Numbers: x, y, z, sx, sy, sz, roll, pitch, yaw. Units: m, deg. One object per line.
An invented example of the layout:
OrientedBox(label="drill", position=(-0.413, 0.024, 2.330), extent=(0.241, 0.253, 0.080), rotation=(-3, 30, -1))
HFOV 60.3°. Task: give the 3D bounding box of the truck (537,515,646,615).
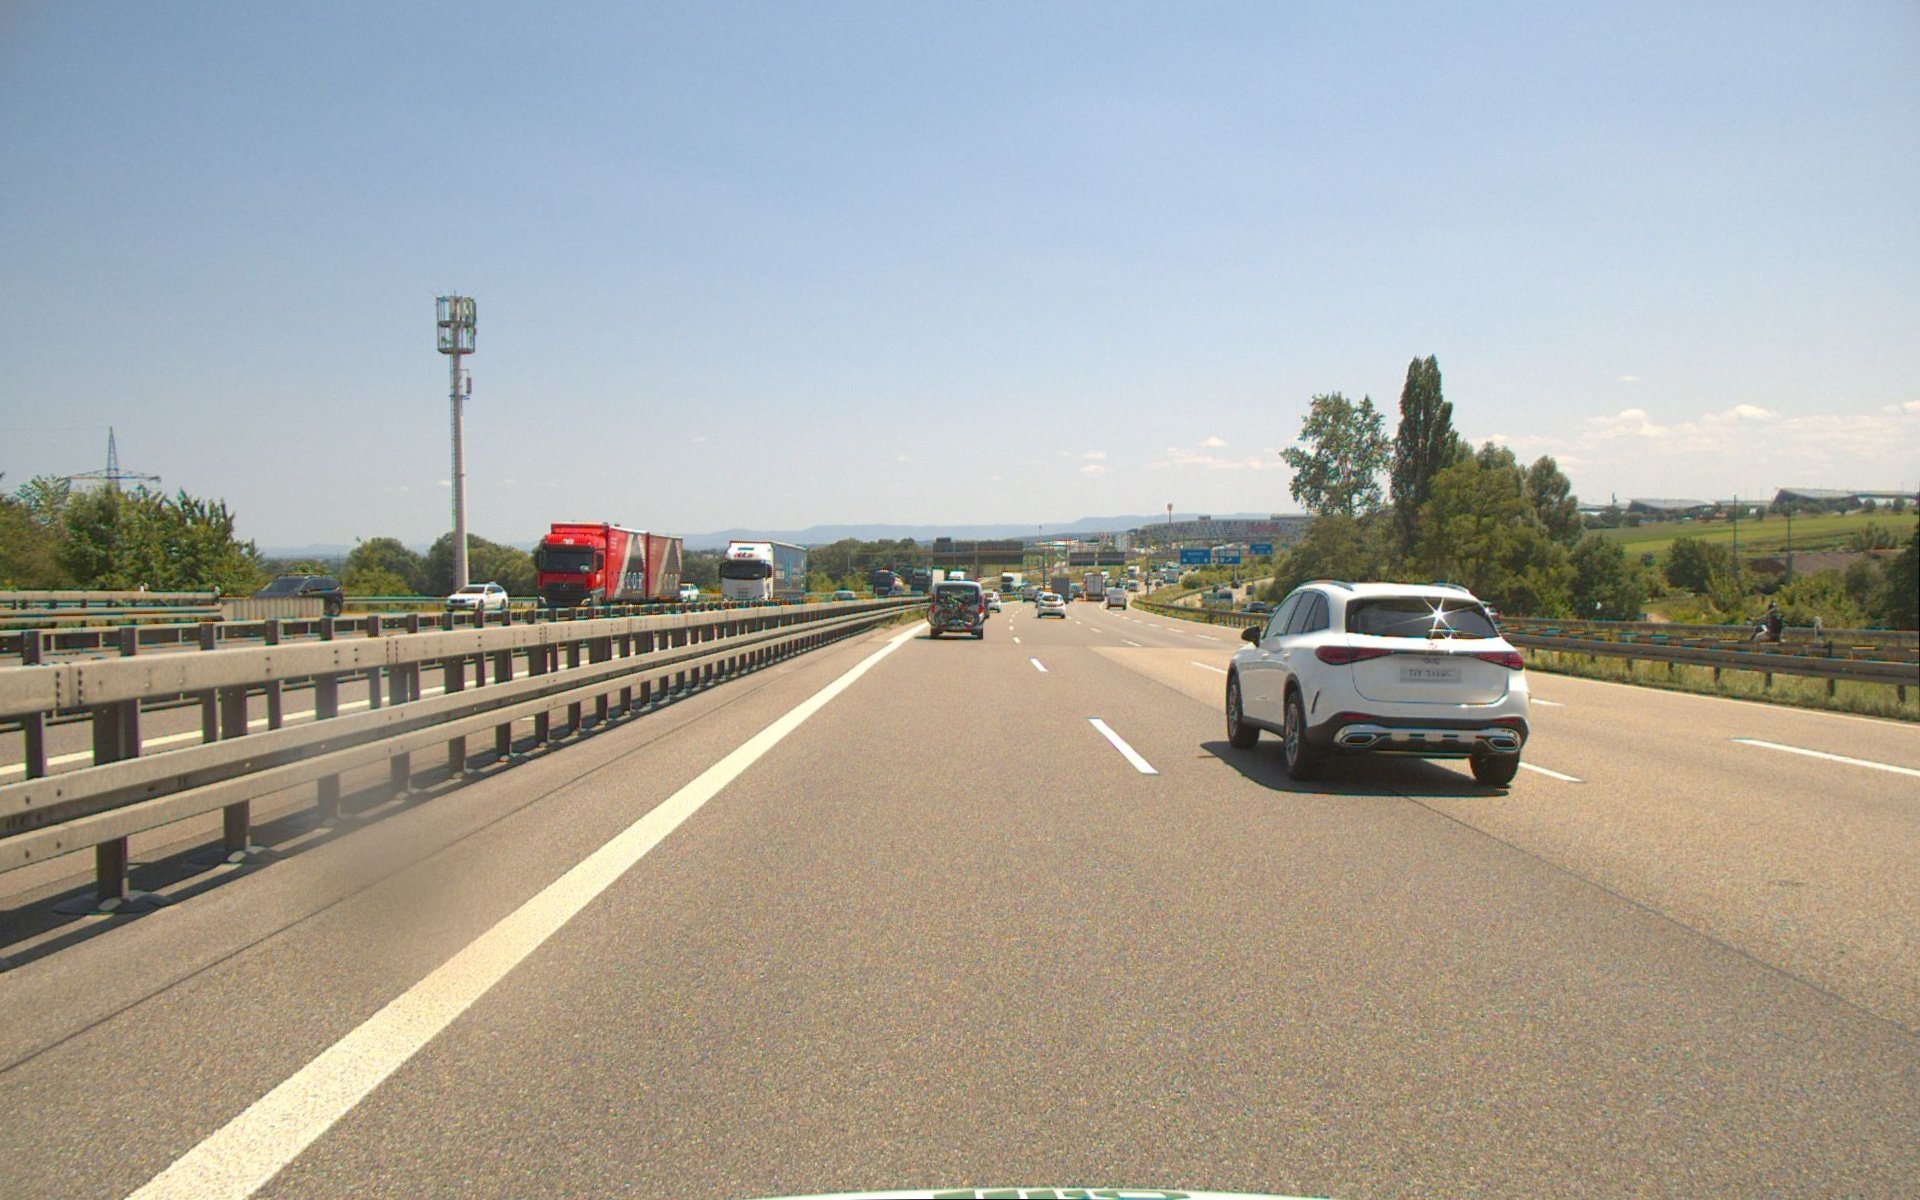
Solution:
OrientedBox(label="truck", position=(-16.469, -1.503, 74.734), extent=(2.529, 4.187, 10.348), rotation=(1, 0, 0))

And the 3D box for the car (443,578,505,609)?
OrientedBox(label="car", position=(-26.222, -0.367, 89.376), extent=(2.048, 1.608, 4.001), rotation=(1, 0, 2))

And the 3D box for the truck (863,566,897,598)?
OrientedBox(label="truck", position=(-10.001, -2.219, 208.342), extent=(3.152, 3.852, 12.905), rotation=(1, 1, 2))

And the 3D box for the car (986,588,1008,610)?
OrientedBox(label="car", position=(2.674, -0.083, 121.030), extent=(1.543, 1.579, 3.964), rotation=(1, 0, 1))

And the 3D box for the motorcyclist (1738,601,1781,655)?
OrientedBox(label="motorcyclist", position=(20.845, 0.718, 43.144), extent=(0.655, 1.390, 0.878), rotation=(1, 0, -1))

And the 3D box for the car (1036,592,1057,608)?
OrientedBox(label="car", position=(8.044, -0.030, 154.306), extent=(1.940, 1.499, 4.002), rotation=(0, 0, 3))

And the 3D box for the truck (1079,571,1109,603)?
OrientedBox(label="truck", position=(20.701, -2.028, 254.364), extent=(3.953, 4.335, 11.769), rotation=(1, 3, 8))

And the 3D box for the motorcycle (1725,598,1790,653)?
OrientedBox(label="motorcycle", position=(20.828, 0.654, 43.211), extent=(0.744, 1.390, 1.869), rotation=(1, 0, -2))

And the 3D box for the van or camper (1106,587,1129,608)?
OrientedBox(label="van or camper", position=(15.462, -0.232, 163.008), extent=(2.110, 2.049, 4.306), rotation=(1, 0, 4))

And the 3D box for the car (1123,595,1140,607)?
OrientedBox(label="car", position=(23.802, 0.127, 230.041), extent=(1.952, 1.719, 4.000), rotation=(1, 0, 0))

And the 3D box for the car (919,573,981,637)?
OrientedBox(label="car", position=(-0.284, 0.154, 53.926), extent=(1.887, 1.952, 4.949), rotation=(1, 0, 1))

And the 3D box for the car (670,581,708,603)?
OrientedBox(label="car", position=(-21.386, -0.629, 130.741), extent=(1.642, 1.641, 4.406), rotation=(1, 1, 9))

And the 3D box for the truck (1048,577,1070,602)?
OrientedBox(label="truck", position=(12.944, -1.350, 215.380), extent=(2.646, 3.163, 10.664), rotation=(1, 0, 4))

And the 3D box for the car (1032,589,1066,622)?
OrientedBox(label="car", position=(5.488, 0.300, 102.042), extent=(1.887, 1.952, 4.518), rotation=(1, 0, 1))

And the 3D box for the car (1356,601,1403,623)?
OrientedBox(label="car", position=(25.911, 0.729, 102.191), extent=(1.666, 1.299, 3.997), rotation=(1, 0, -4))

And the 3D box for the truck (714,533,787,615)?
OrientedBox(label="truck", position=(-11.852, -1.442, 94.077), extent=(2.866, 4.420, 6.918), rotation=(1, 0, 3))

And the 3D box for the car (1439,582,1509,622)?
OrientedBox(label="car", position=(21.641, 0.090, 69.759), extent=(1.665, 1.602, 4.128), rotation=(1, 0, 0))

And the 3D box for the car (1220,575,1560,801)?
OrientedBox(label="car", position=(3.649, 0.659, 15.026), extent=(1.859, 1.675, 4.999), rotation=(1, 0, 1))

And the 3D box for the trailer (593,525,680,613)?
OrientedBox(label="trailer", position=(-16.382, -1.510, 84.322), extent=(2.507, 4.177, 8.716), rotation=(1, 0, 1))

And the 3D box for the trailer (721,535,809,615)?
OrientedBox(label="trailer", position=(-11.581, -1.424, 99.959), extent=(2.884, 4.418, 14.625), rotation=(1, 0, 3))

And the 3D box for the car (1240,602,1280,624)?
OrientedBox(label="car", position=(23.700, 1.010, 130.759), extent=(1.956, 1.624, 3.993), rotation=(1, 0, -8))

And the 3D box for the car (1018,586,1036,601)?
OrientedBox(label="car", position=(9.055, -0.856, 222.252), extent=(2.140, 2.038, 4.003), rotation=(1, 0, 5))

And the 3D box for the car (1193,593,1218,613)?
OrientedBox(label="car", position=(26.385, 0.340, 177.845), extent=(1.953, 2.049, 3.999), rotation=(1, 0, -1))

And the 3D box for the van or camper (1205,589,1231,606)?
OrientedBox(label="van or camper", position=(32.802, -0.298, 210.512), extent=(2.478, 2.049, 4.459), rotation=(1, 0, -1))

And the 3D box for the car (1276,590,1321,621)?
OrientedBox(label="car", position=(22.229, 0.373, 108.715), extent=(1.900, 1.957, 4.178), rotation=(1, 0, -2))
